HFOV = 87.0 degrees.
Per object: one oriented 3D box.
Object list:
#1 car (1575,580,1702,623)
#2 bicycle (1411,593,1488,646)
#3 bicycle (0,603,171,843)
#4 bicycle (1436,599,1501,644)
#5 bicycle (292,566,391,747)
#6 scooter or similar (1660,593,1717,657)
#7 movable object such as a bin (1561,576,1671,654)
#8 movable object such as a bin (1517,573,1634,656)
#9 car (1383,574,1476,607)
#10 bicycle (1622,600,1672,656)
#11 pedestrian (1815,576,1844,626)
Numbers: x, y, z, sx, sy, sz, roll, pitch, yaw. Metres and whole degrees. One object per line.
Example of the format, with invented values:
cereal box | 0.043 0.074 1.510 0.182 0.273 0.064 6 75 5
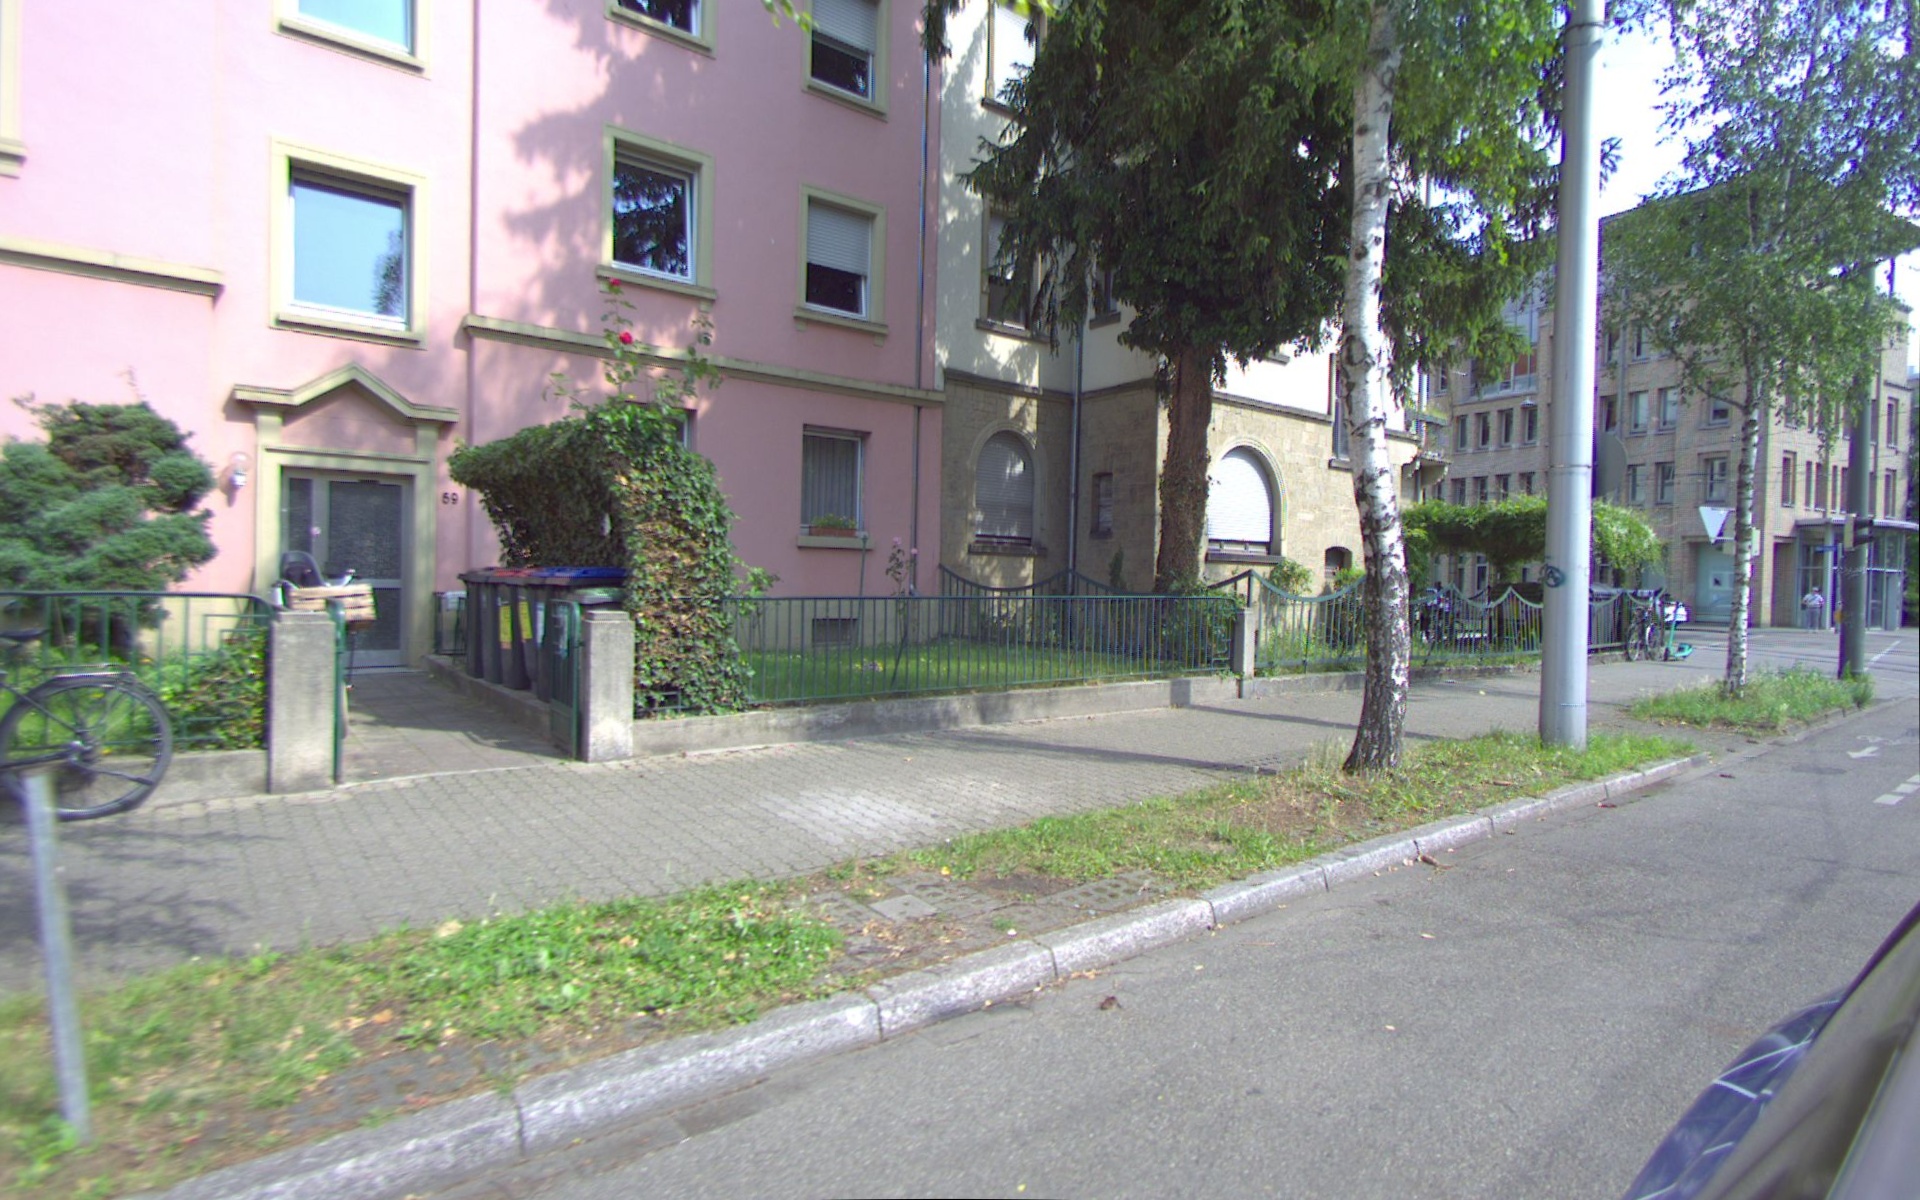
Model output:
car | 27.994 0.029 41.875 1.642 1.566 4.007 2 1 -28
bicycle | 9.918 0.378 20.521 0.445 1.014 1.315 1 2 -39
bicycle | -4.669 0.553 4.552 1.745 1.066 0.421 0 2 -38
bicycle | 11.132 0.454 22.164 0.445 0.911 1.170 1 2 -39
bicycle | -4.777 0.364 7.772 0.413 1.235 1.777 1 1 -39
scooter or similar | 14.304 0.479 19.863 1.166 1.193 0.522 1 4 -38
movable object such as a bin | 13.657 0.293 21.062 1.963 1.511 1.306 0 2 -38
movable object such as a bin | 12.025 0.254 19.755 1.963 1.511 1.306 0 2 -38
car | 23.463 -0.497 50.715 1.642 1.440 4.007 2 1 -28
bicycle | 13.359 0.531 19.663 1.454 1.034 0.350 0 4 -40
pedestrian | 33.294 0.040 38.752 0.732 1.866 0.796 1 1 36
